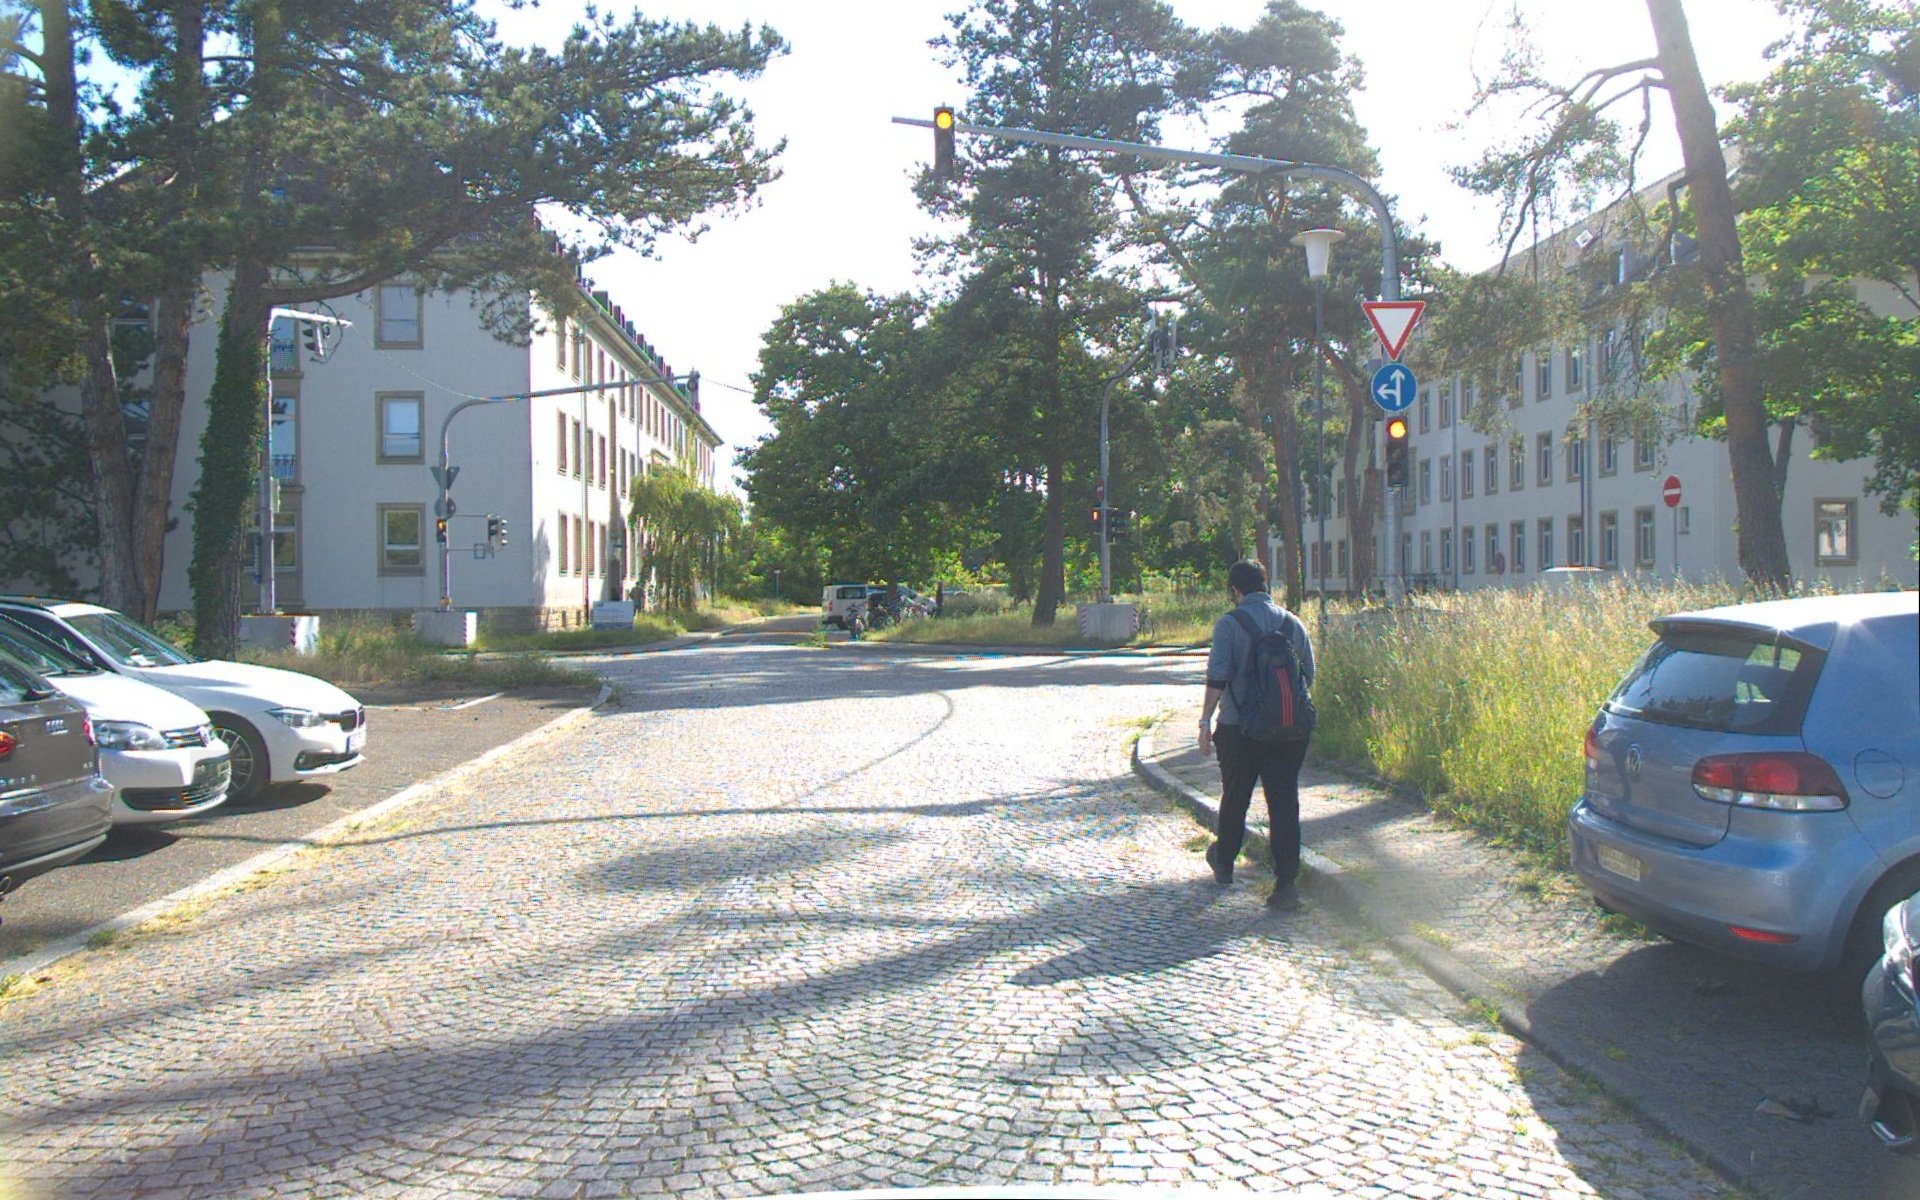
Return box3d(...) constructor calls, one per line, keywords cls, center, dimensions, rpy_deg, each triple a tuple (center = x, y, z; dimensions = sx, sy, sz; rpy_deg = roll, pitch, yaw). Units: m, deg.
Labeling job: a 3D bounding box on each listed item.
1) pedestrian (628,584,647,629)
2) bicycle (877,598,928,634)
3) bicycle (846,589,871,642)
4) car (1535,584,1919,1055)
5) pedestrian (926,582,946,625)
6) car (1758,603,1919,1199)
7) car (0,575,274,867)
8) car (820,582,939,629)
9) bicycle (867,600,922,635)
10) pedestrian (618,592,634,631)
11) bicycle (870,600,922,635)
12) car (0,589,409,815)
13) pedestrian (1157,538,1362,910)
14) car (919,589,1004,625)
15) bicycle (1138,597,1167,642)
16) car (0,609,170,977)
box3d(cls="pedestrian", center=(-12.853, 0.274, 65.977), dimensions=(0.599, 1.783, 0.625), rpy_deg=(-1, 0, -26))
box3d(cls="bicycle", center=(-1.953, 0.534, 56.152), dimensions=(1.694, 1.185, 0.560), rpy_deg=(-1, 0, -7))
box3d(cls="bicycle", center=(-3.167, 0.449, 51.580), dimensions=(0.738, 1.608, 2.535), rpy_deg=(0, 0, -4))
box3d(cls="car", center=(4.313, 0.664, 6.327), dimensions=(3.601, 1.468, 1.664), rpy_deg=(-2, 0, -4))
box3d(cls="pedestrian", center=(-1.050, 0.152, 71.311), dimensions=(0.746, 1.815, 0.682), rpy_deg=(-1, 0, -11))
box3d(cls="car", center=(4.511, 0.662, 3.755), dimensions=(4.531, 1.481, 1.867), rpy_deg=(-3, 1, -6))
box3d(cls="car", center=(-6.490, 0.658, 10.190), dimensions=(3.804, 1.643, 1.659), rpy_deg=(2, 0, -5))
box3d(cls="car", center=(-3.554, 0.235, 72.744), dimensions=(4.979, 1.951, 1.993), rpy_deg=(-1, 0, -13))
box3d(cls="bicycle", center=(-2.173, 0.580, 54.909), dimensions=(1.799, 1.132, 0.494), rpy_deg=(-1, 0, -7))
box3d(cls="pedestrian", center=(-13.757, 0.476, 68.162), dimensions=(0.596, 1.587, 0.544), rpy_deg=(0, 0, -10))
box3d(cls="bicycle", center=(-2.141, 0.577, 55.457), dimensions=(1.694, 1.132, 0.483), rpy_deg=(-1, 0, -7))
box3d(cls="car", center=(-6.543, 0.722, 12.805), dimensions=(3.905, 1.522, 1.773), rpy_deg=(2, 0, 1))
box3d(cls="pedestrian", center=(1.502, 0.601, 8.422), dimensions=(0.738, 1.755, 0.828), rpy_deg=(4, 0, -4))
box3d(cls="car", center=(0.052, 0.298, 76.907), dimensions=(3.677, 1.607, 1.737), rpy_deg=(0, 0, -11))
box3d(cls="bicycle", center=(5.039, 0.488, 43.482), dimensions=(0.706, 1.134, 2.585), rpy_deg=(-1, 0, 6))
box3d(cls="car", center=(-5.934, 0.737, 7.453), dimensions=(3.861, 1.470, 1.689), rpy_deg=(3, 0, -5))
